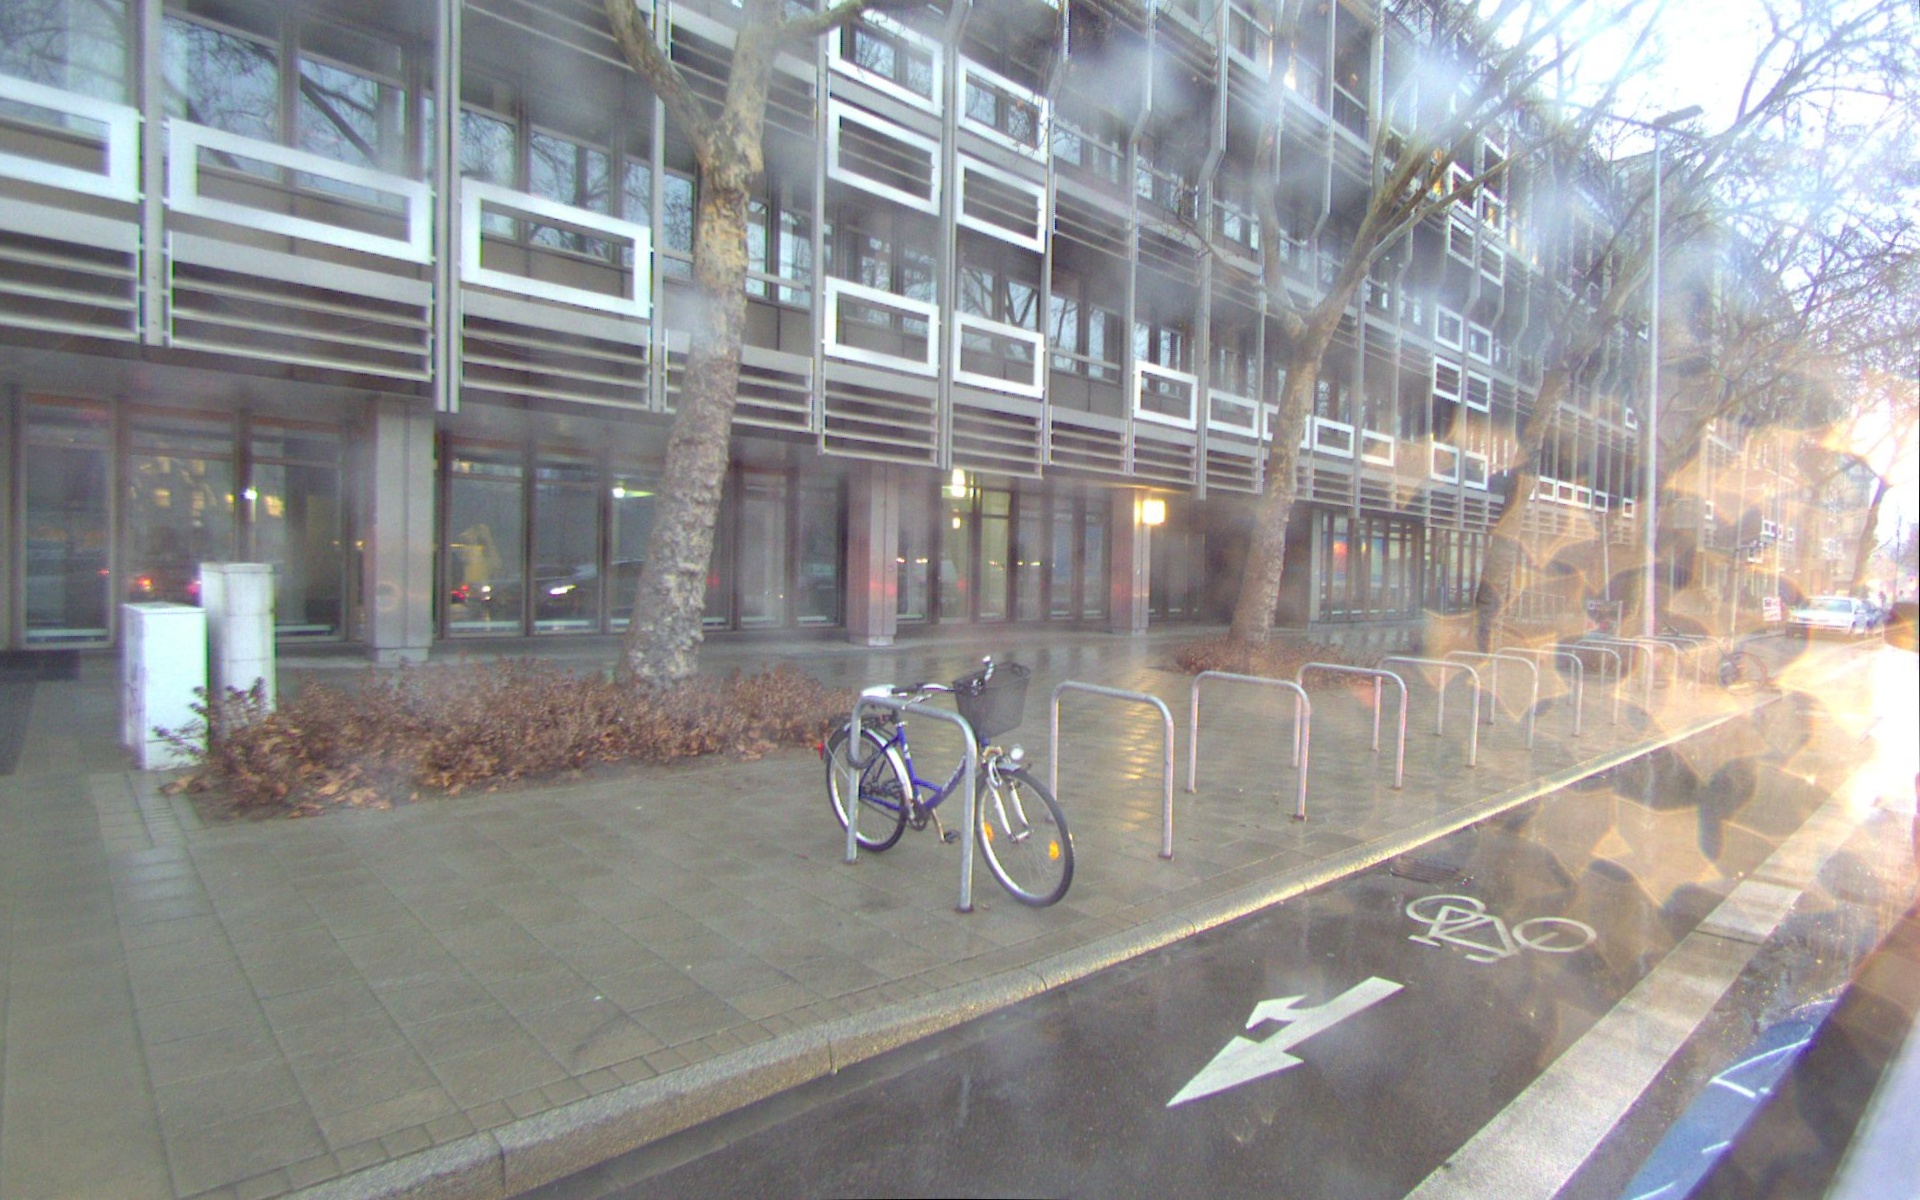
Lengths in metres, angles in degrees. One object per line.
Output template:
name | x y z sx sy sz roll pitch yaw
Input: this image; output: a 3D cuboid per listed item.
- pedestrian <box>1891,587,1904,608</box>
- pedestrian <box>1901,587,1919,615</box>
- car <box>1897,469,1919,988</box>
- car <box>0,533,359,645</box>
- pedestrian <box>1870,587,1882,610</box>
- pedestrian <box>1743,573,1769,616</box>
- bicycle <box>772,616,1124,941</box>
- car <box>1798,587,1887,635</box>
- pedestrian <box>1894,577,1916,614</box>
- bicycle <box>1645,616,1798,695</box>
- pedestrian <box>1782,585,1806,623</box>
pedestrian | 80.696 -0.262 87.097 0.765 1.771 0.913 2 2 45
pedestrian | 60.413 0.062 64.345 0.765 1.771 0.913 2 2 45
car | 5.452 0.443 4.381 3.935 1.864 1.874 -1 0 -45
car | -10.706 -0.189 13.941 3.929 1.326 1.998 0 3 -40
pedestrian | 70.998 -0.127 78.431 0.584 1.771 0.658 2 2 45
pedestrian | 41.644 -0.281 52.976 1.056 2.222 1.096 0 0 38
bicycle | -0.143 0.719 4.866 0.629 1.145 1.810 2 2 -41
car | 29.441 0.317 33.737 3.930 1.482 1.711 -1 1 -41
pedestrian | 47.178 -0.231 50.518 0.765 1.771 0.913 2 2 45
bicycle | 11.701 0.815 15.584 0.864 1.004 1.704 0 4 -41
pedestrian | 40.308 0.188 48.889 0.765 1.771 0.913 2 2 45
